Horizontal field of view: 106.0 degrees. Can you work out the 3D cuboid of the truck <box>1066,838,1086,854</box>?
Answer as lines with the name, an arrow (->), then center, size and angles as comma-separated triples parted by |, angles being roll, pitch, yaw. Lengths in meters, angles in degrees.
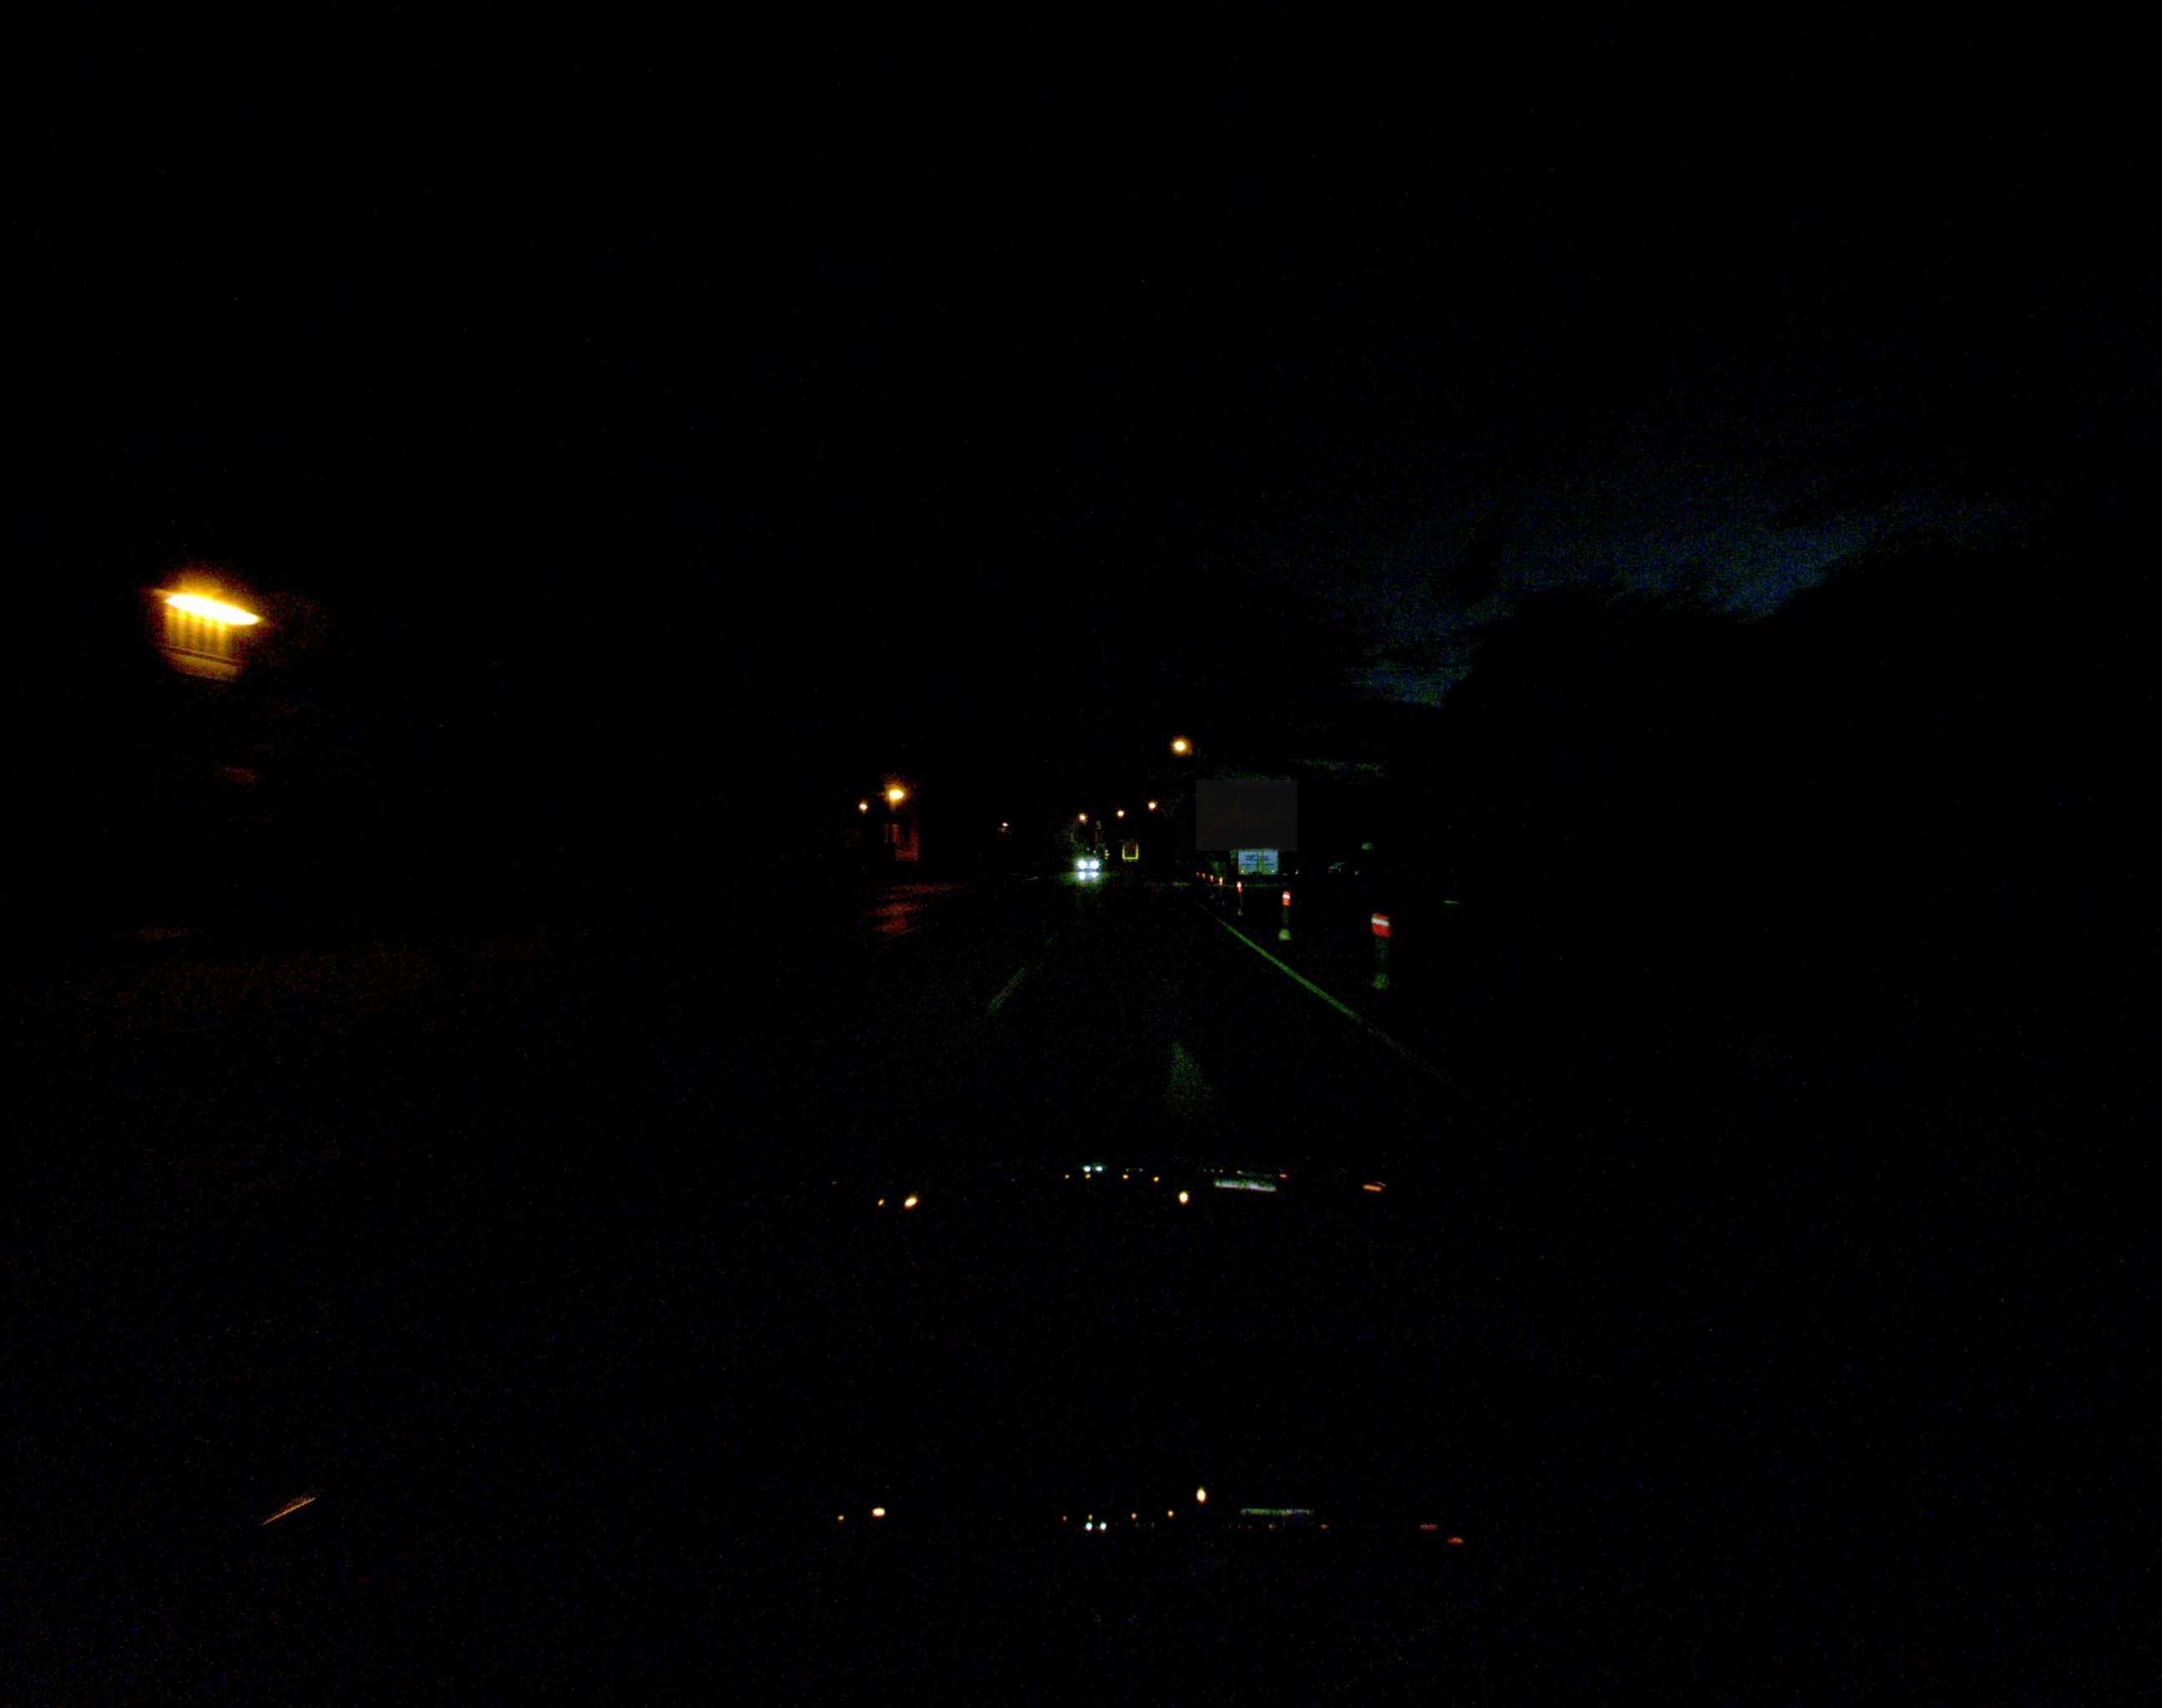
truck -> -1.236, -1.935, 197.609 | 3.518, 3.983, 10.314 | -1, 0, -8

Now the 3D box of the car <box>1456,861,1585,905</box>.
car -> 16.489, 1.063, 30.701 | 3.836, 1.561, 1.905 | 1, 0, 5

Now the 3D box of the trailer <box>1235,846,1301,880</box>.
trailer -> 11.690, 0.549, 50.999 | 3.712, 2.013, 1.624 | 0, 0, 27

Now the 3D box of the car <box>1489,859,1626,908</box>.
car -> 16.756, 1.016, 28.751 | 3.840, 1.604, 1.710 | 1, 0, 2

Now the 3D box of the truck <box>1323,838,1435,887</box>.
truck -> 16.798, 0.465, 46.151 | 5.507, 2.600, 2.475 | 1, 0, 3

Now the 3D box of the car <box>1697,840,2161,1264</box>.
car -> 4.961, 0.746, 3.385 | 1.926, 1.552, 4.004 | 1, 0, 3

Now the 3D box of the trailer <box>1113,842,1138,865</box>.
trailer -> 7.929, -0.118, 147.720 | 2.803, 3.983, 13.953 | -1, 1, -4

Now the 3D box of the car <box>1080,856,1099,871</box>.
car -> 1.001, 1.086, 94.831 | 1.985, 1.627, 4.757 | 1, 0, 4

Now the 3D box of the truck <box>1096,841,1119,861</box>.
truck -> 5.238, -0.633, 164.685 | 2.829, 3.983, 10.310 | -1, 0, -9

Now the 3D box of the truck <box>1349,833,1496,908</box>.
truck -> 11.846, 0.525, 29.083 | 2.367, 2.284, 7.751 | 1, 0, 3

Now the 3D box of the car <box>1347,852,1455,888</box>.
car -> 17.008, 0.835, 43.535 | 5.047, 1.836, 1.993 | 1, 0, 6

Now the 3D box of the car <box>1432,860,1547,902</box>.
car -> 16.631, 1.061, 33.286 | 3.840, 1.596, 1.710 | 1, 0, 2

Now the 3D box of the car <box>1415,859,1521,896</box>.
car -> 16.764, 0.996, 35.410 | 3.840, 1.515, 1.710 | 1, 0, 2

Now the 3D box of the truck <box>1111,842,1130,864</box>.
truck -> 7.381, -0.192, 154.388 | 2.825, 3.983, 6.041 | -1, 0, -4

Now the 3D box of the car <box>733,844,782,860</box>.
car -> -33.602, -0.207, 84.739 | 4.335, 1.589, 1.904 | 2, 0, -11

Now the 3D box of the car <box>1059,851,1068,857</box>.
car -> -4.553, -0.118, 212.549 | 1.854, 1.519, 3.803 | -1, 0, -11

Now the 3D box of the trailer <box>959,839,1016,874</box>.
trailer -> -7.552, 0.173, 66.083 | 4.329, 2.720, 2.002 | 0, 0, 3

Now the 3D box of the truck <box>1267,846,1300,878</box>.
truck -> 18.382, 0.727, 74.201 | 2.171, 2.748, 7.332 | 2, 0, 8

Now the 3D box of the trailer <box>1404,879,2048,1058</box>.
trailer -> 7.021, 1.055, 11.302 | 2.163, 0.967, 9.632 | 2, 1, 6
